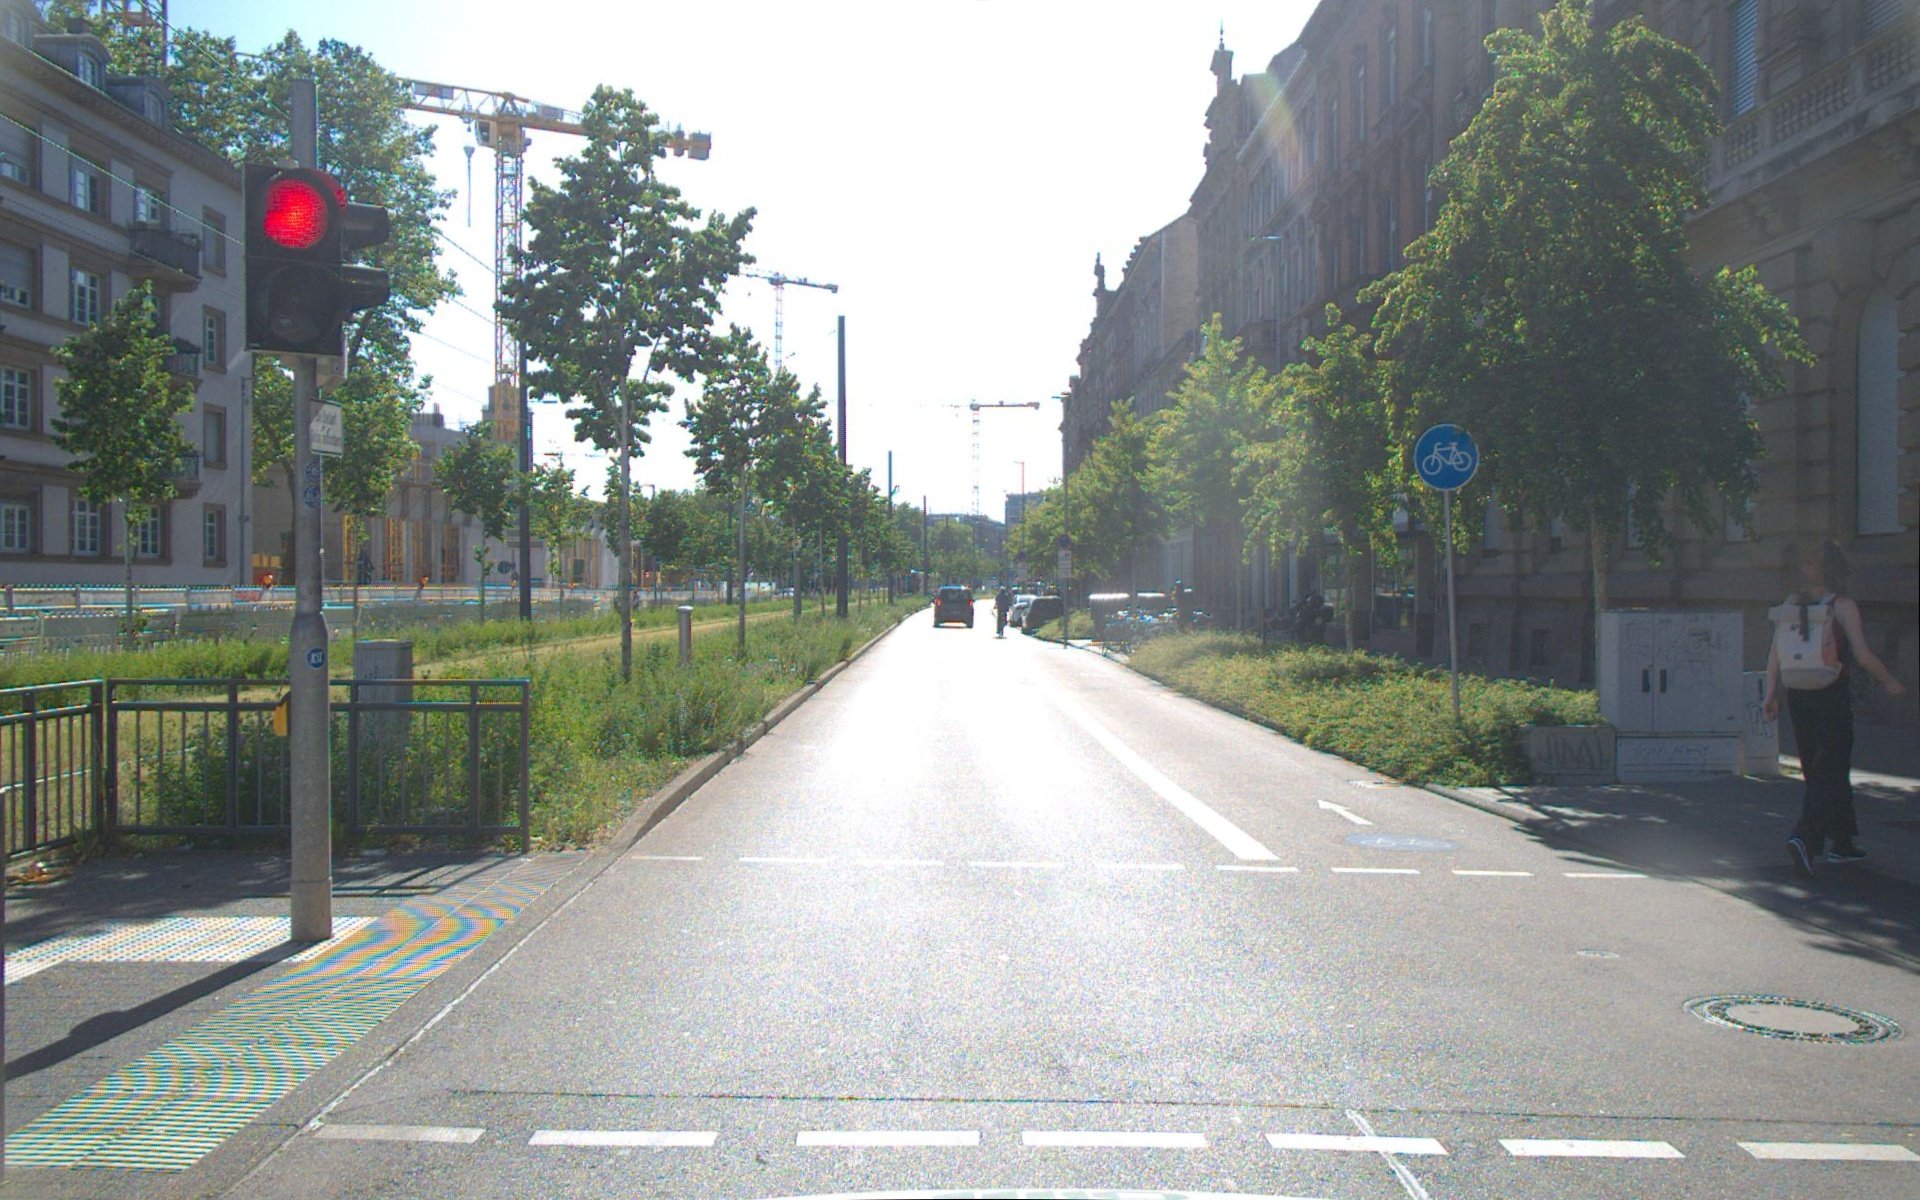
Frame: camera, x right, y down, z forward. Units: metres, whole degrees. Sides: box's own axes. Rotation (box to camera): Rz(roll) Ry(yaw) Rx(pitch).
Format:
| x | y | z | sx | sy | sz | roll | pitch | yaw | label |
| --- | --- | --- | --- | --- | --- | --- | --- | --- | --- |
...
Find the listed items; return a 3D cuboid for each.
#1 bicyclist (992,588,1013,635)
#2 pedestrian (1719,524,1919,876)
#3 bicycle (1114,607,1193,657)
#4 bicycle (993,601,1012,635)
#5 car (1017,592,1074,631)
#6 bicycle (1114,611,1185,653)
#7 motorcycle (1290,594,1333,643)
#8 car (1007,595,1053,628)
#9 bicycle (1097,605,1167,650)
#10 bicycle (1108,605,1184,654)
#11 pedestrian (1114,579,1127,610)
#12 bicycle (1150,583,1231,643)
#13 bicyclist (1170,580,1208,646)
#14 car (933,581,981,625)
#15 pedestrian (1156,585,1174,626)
| x | y | z | sx | sy | sz | roll | pitch | yaw | label |
| --- | --- | --- | --- | --- | --- | --- | --- | --- | --- |
| 1.577 | 0.432 | 61.714 | 0.670 | 1.702 | 0.922 | 2 | 0 | -2 | bicyclist |
| 5.066 | 0.544 | 9.563 | 1.057 | 1.942 | 0.651 | 0 | 0 | -14 | pedestrian |
| 4.632 | 0.768 | 39.655 | 1.756 | 1.048 | 0.527 | -4 | 0 | -1 | bicycle |
| 1.563 | 0.658 | 61.466 | 0.589 | 1.201 | 1.869 | 2 | 0 | -1 | bicycle |
| 3.443 | 0.458 | 67.451 | 1.987 | 1.525 | 4.653 | 0 | 0 | -1 | car |
| 4.874 | 0.813 | 42.598 | 1.756 | 1.048 | 0.527 | 0 | 0 | -1 | bicycle |
| 9.409 | 0.479 | 44.301 | 0.686 | 1.289 | 1.981 | 0 | 0 | -1 | motorcycle |
| 3.345 | 0.516 | 79.823 | 1.987 | 1.525 | 4.529 | 0 | 0 | -1 | car |
| 4.569 | 0.725 | 44.001 | 1.756 | 1.048 | 0.527 | -4 | 0 | -1 | bicycle |
| 4.604 | 0.732 | 41.029 | 1.756 | 1.048 | 0.527 | -4 | 0 | -1 | bicycle |
| 8.606 | -0.290 | 88.876 | 0.601 | 1.640 | 0.669 | 0 | 0 | -1 | pedestrian |
| 5.759 | 0.319 | 41.306 | 1.853 | 1.353 | 0.618 | -4 | 0 | 12 | bicycle |
| 5.724 | 0.316 | 41.305 | 0.781 | 1.556 | 0.663 | -4 | 0 | 12 | bicyclist |
| -0.162 | 0.114 | 76.415 | 2.155 | 1.960 | 4.653 | 0 | 0 | -1 | car |
| 8.225 | 0.212 | 66.375 | 0.601 | 1.640 | 0.669 | 0 | 0 | -1 | pedestrian |
